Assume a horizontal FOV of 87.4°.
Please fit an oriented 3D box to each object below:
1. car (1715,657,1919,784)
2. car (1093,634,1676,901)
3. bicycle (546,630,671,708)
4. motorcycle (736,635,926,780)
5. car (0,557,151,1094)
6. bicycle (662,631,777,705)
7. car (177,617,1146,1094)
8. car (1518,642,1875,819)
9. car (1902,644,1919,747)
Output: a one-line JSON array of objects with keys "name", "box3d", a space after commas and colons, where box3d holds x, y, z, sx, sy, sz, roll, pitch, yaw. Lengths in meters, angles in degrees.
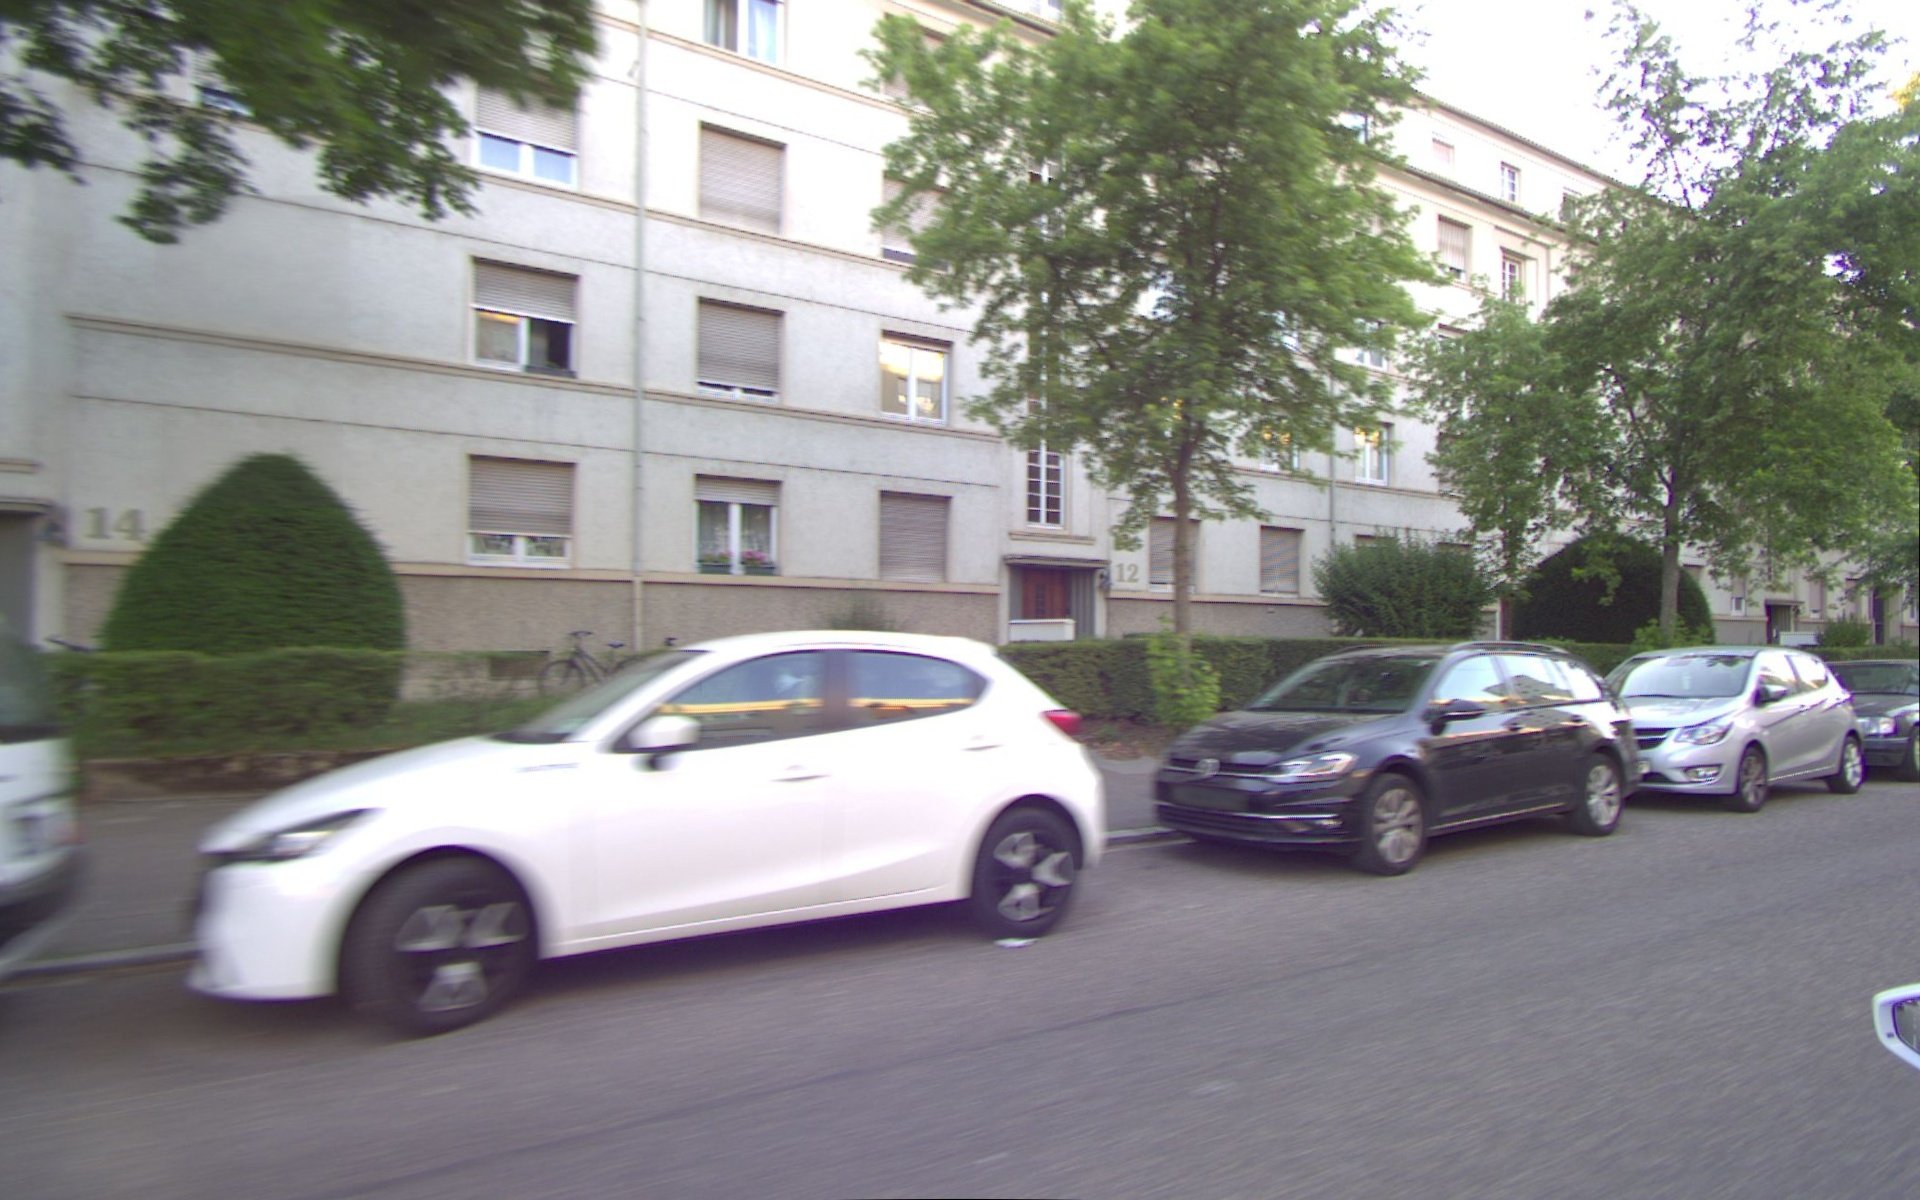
[{"name": "car", "box3d": [11.541, 1.406, 12.642, 4.528, 1.349, 1.666, 2, -5, -31]}, {"name": "car", "box3d": [3.370, 1.065, 7.668, 4.627, 1.498, 1.744, 2, -5, -32]}, {"name": "bicycle", "box3d": [-5.559, 1.076, 15.911, 1.794, 1.187, 0.554, 1, -2, -28]}, {"name": "motorcycle", "box3d": [-1.277, 1.031, 10.081, 1.807, 1.342, 0.583, 2, -2, -30]}, {"name": "car", "box3d": [-5.061, 0.710, 2.844, 4.061, 1.652, 1.744, 2, -5, -32]}, {"name": "bicycle", "box3d": [-4.043, 1.125, 16.901, 1.794, 1.187, 0.554, 1, -2, -28]}, {"name": "car", "box3d": [-1.187, 0.913, 4.927, 3.896, 1.498, 1.746, 1, -5, -29]}, {"name": "car", "box3d": [7.504, 1.208, 10.172, 3.665, 1.478, 1.665, 2, -5, -33]}, {"name": "car", "box3d": [16.014, 1.386, 15.092, 4.100, 1.478, 1.684, 2, -5, -32]}]
